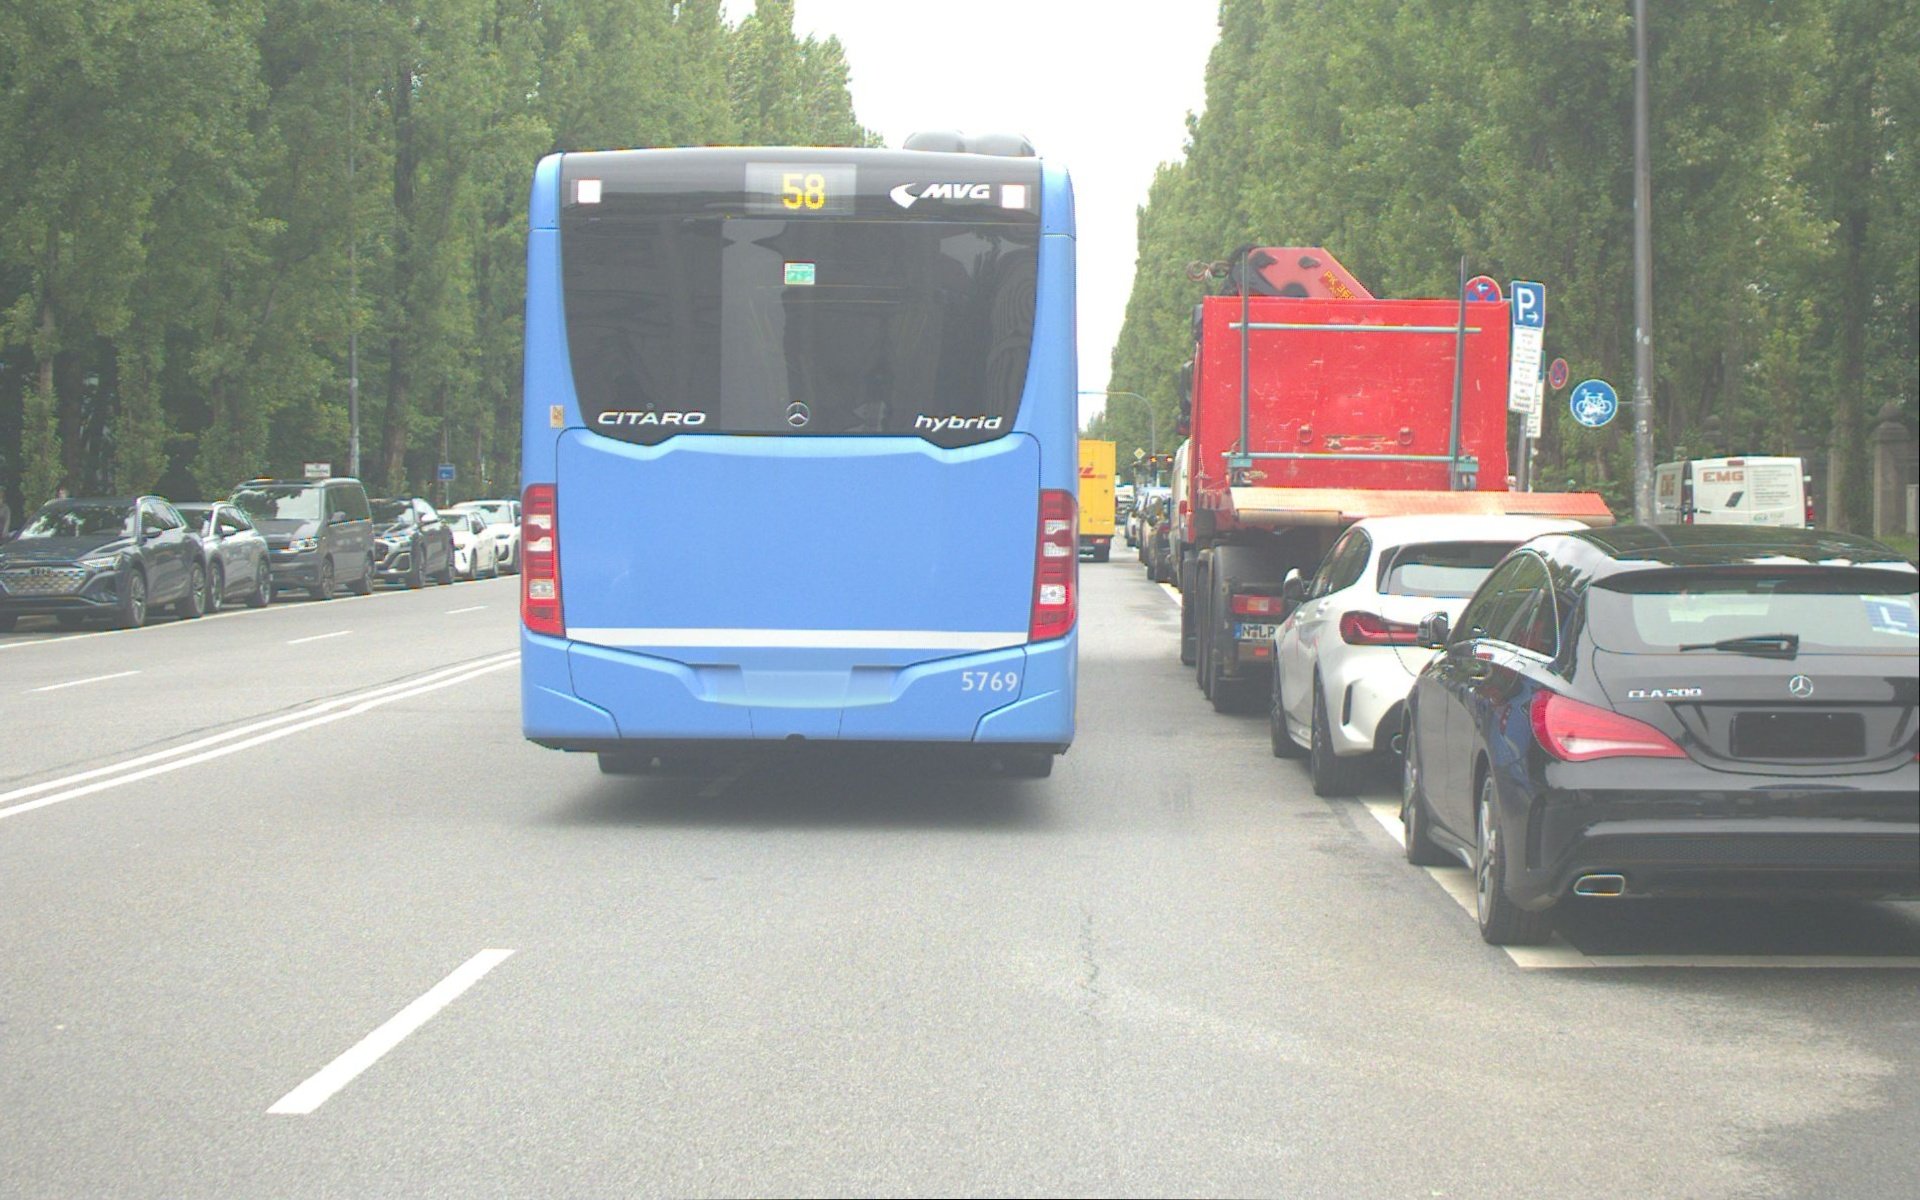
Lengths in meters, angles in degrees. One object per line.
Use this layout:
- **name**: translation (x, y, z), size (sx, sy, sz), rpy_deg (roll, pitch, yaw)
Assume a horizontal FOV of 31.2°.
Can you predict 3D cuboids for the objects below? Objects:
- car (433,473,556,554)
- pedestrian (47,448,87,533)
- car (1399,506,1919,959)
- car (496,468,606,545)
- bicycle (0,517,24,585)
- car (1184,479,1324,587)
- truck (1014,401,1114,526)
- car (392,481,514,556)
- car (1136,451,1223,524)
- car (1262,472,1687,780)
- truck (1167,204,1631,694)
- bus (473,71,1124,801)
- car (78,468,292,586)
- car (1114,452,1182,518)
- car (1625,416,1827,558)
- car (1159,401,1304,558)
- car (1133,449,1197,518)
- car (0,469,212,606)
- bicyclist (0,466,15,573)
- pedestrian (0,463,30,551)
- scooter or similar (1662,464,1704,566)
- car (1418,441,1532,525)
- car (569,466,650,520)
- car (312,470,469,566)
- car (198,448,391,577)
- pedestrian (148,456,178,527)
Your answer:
- **car**: translation (-10.048, -1.900, 74.462), size (1.785, 1.583, 4.461), rpy_deg (-2, 2, 3)
- **pedestrian**: translation (-18.705, -2.295, 72.027), size (0.608, 1.750, 0.757), rpy_deg (0, 2, 1)
- **car**: translation (2.660, 0.349, 12.633), size (1.735, 1.305, 4.370), rpy_deg (-1, 2, 3)
- **car**: translation (-9.576, -2.219, 80.737), size (1.880, 1.652, 4.719), rpy_deg (-3, 2, 1)
- **bicycle**: translation (-13.819, -0.693, 48.565), size (0.707, 0.935, 1.735), rpy_deg (0, 2, 1)
- **car**: translation (4.250, -1.009, 50.117), size (1.754, 1.445, 4.000), rpy_deg (2, 2, 2)
- **truck**: translation (2.504, -3.303, 83.337), size (2.327, 2.888, 7.333), rpy_deg (0, 2, 1)
- **car**: translation (-10.228, -1.667, 69.570), size (1.676, 1.417, 4.237), rpy_deg (-2, 2, 2)
- **car**: translation (4.955, -2.565, 78.051), size (1.781, 1.576, 4.147), rpy_deg (2, 2, 1)
- **car**: translation (2.659, 0.048, 18.669), size (1.788, 1.455, 4.218), rpy_deg (0, 2, 2)
- **truck**: translation (3.121, -1.166, 27.163), size (2.713, 3.099, 10.427), rpy_deg (-1, 2, 2)
- **bus**: translation (-0.747, -0.897, 19.660), size (2.855, 3.202, 9.061), rpy_deg (0, 2, 0)
- **car**: translation (-11.206, -1.103, 50.021), size (1.890, 1.579, 4.655), rpy_deg (-1, 2, 2)
- **car**: translation (5.933, -3.665, 109.039), size (2.053, 2.006, 5.692), rpy_deg (0, 2, 2)
- **car**: translation (11.016, -1.649, 49.779), size (1.994, 1.939, 5.083), rpy_deg (0, 2, 3)
- **car**: translation (4.470, -2.031, 57.527), size (2.074, 2.470, 6.284), rpy_deg (1, 2, 2)
- **car**: translation (5.996, -3.421, 100.944), size (1.806, 1.969, 4.236), rpy_deg (0, 2, 3)
- **car**: translation (-11.178, -0.847, 44.505), size (1.782, 1.590, 4.614), rpy_deg (-2, 2, 2)
- **bicyclist**: translation (-13.827, -1.135, 48.516), size (0.693, 1.493, 0.861), rpy_deg (-1, 2, 1)
- **pedestrian**: translation (-18.424, -1.807, 66.845), size (0.508, 1.701, 0.569), rpy_deg (0, 2, 3)
- **scooter or similar**: translation (9.142, -1.083, 43.489), size (0.336, 1.261, 1.186), rpy_deg (0, 2, 3)
- **car**: translation (12.166, -2.777, 81.524), size (1.993, 1.918, 5.324), rpy_deg (0, 2, 1)
- **car**: translation (-9.649, -2.960, 94.869), size (1.685, 1.408, 4.005), rpy_deg (-2, 2, 1)
- **car**: translation (-10.376, -1.537, 62.934), size (1.815, 1.603, 5.053), rpy_deg (-3, 2, 2)
- **car**: translation (-10.827, -1.481, 56.313), size (1.993, 1.949, 4.937), rpy_deg (-2, 2, 2)
- **pedestrian**: translation (-19.488, -2.655, 84.098), size (0.549, 1.741, 0.673), rpy_deg (0, 2, 1)
